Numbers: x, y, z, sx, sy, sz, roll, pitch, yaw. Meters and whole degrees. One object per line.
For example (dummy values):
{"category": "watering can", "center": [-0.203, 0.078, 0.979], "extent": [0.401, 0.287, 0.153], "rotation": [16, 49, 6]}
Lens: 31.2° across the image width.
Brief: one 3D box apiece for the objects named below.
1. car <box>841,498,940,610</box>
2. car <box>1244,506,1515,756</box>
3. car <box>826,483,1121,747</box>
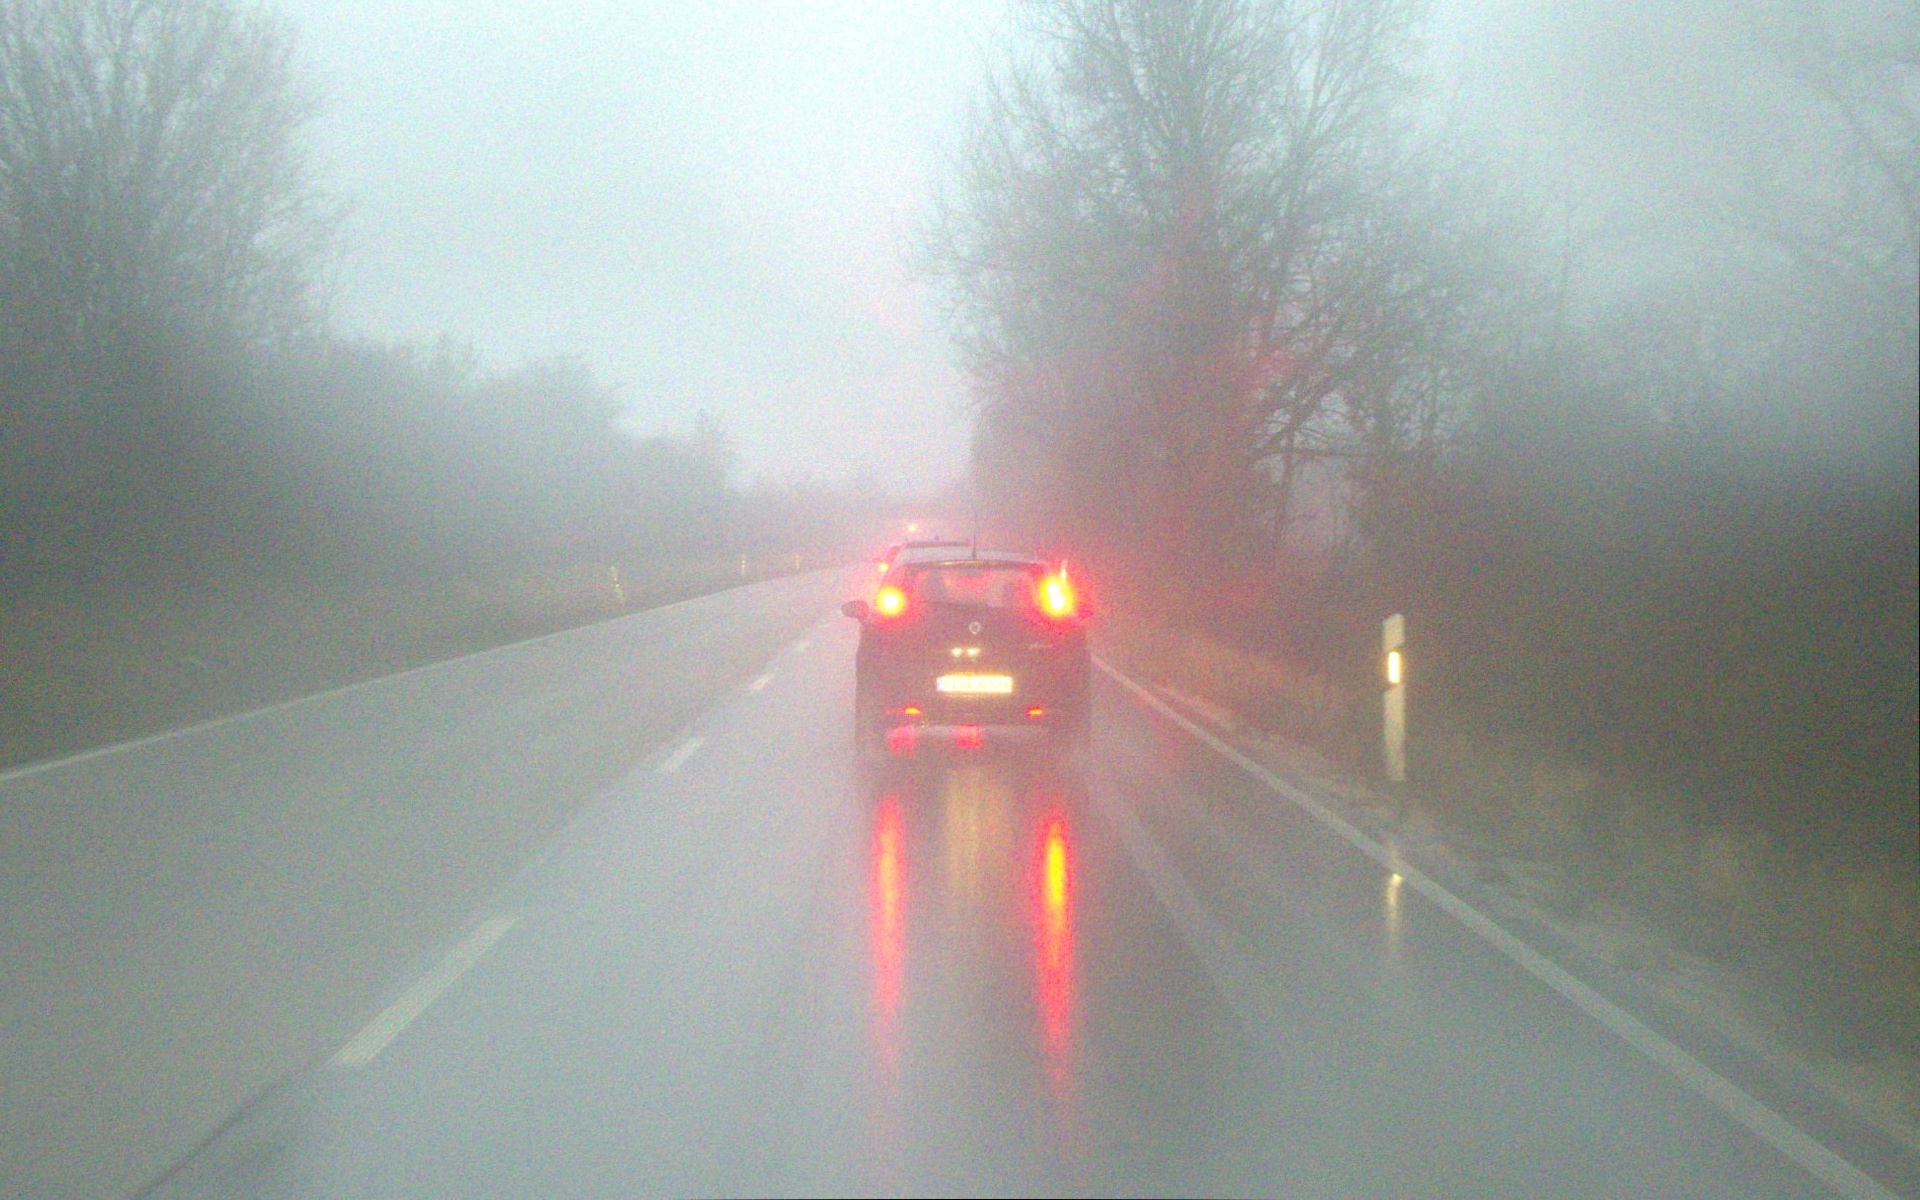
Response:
{"category": "car", "center": [-1.196, -0.827, 60.433], "extent": [1.574, 1.868, 3.709], "rotation": [1, 1, 1]}
{"category": "car", "center": [2.853, 0.163, 23.975], "extent": [1.564, 1.586, 3.488], "rotation": [1, 1, 2]}
{"category": "car", "center": [0.119, 0.057, 25.647], "extent": [1.993, 1.778, 4.000], "rotation": [1, 1, 1]}
